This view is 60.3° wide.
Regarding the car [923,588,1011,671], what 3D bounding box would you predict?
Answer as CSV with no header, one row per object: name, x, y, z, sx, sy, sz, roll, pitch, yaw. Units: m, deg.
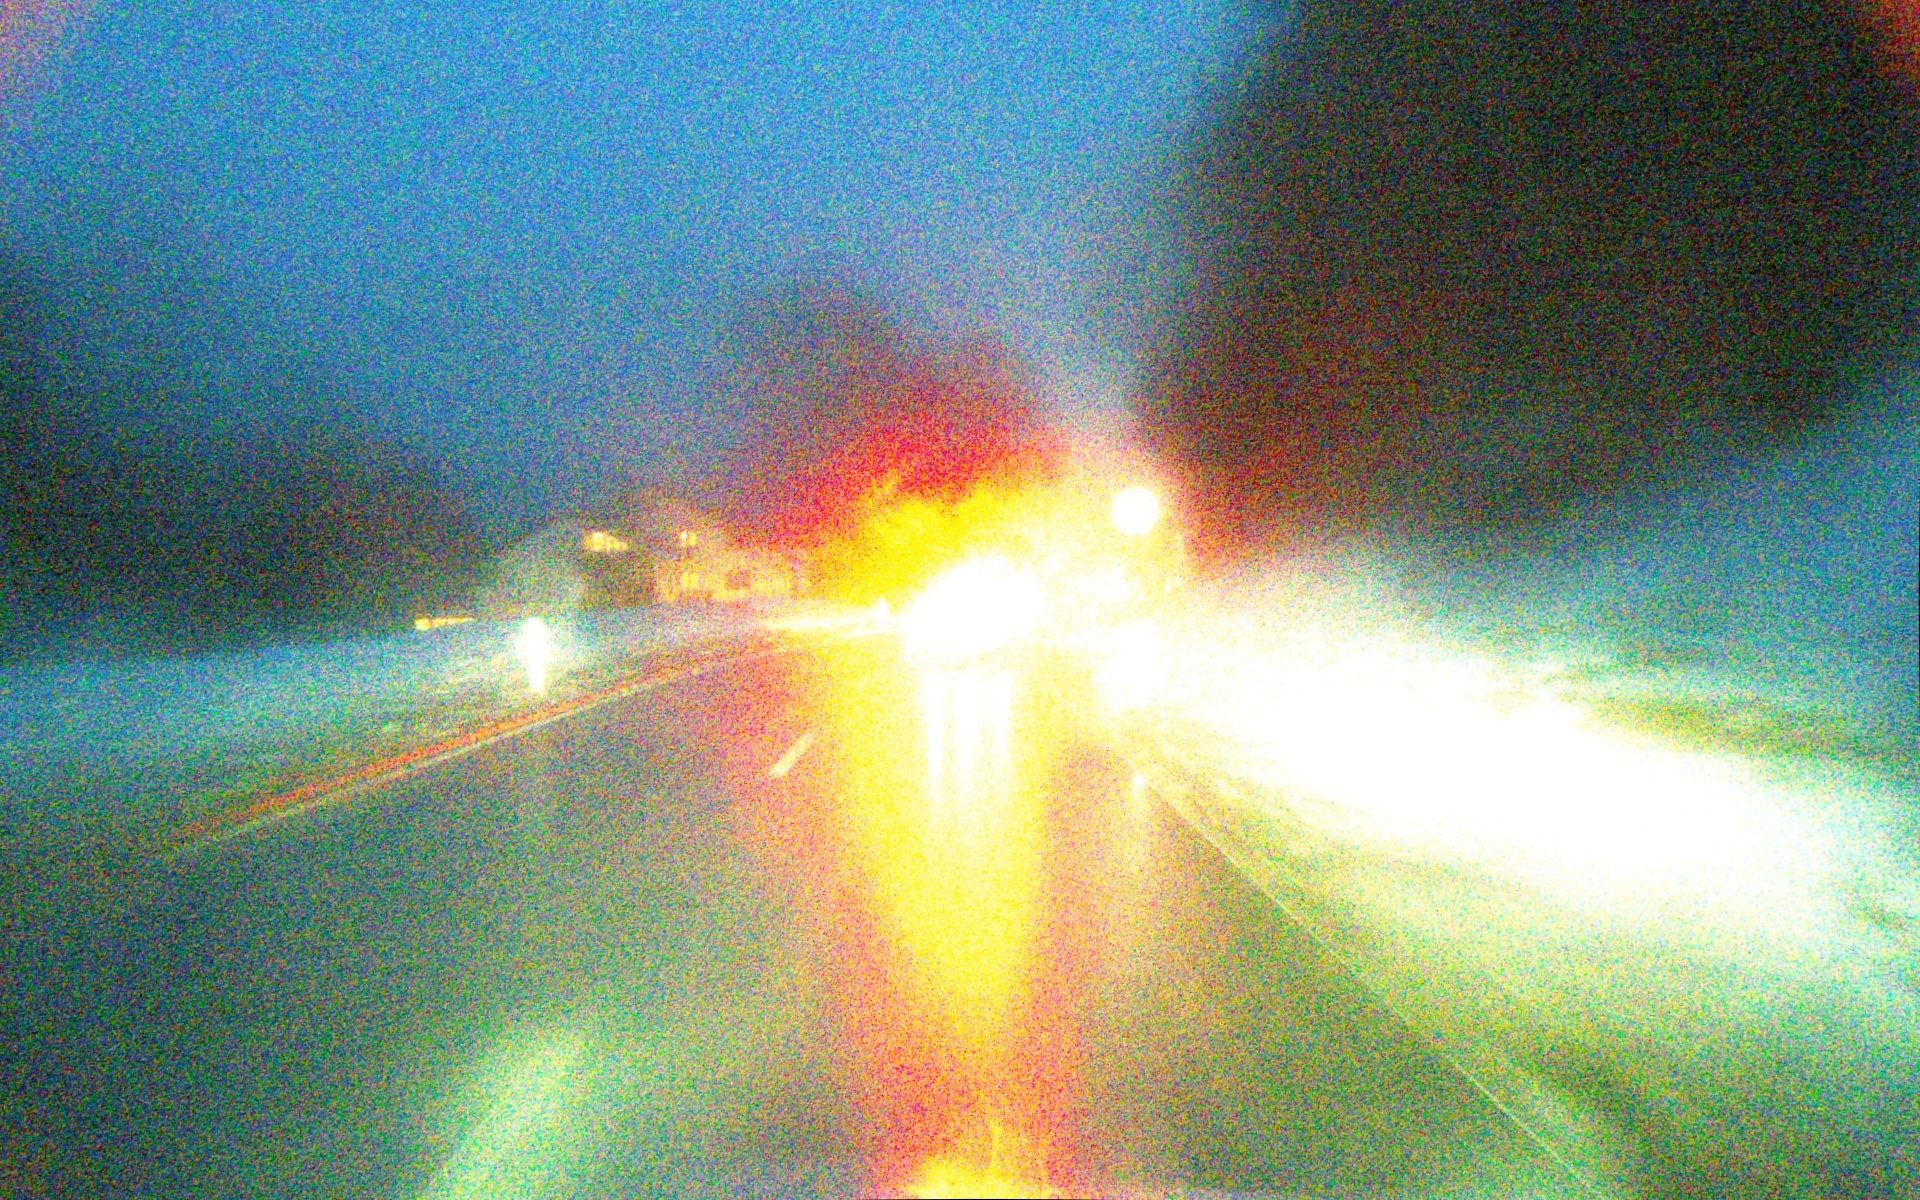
car,0.162,0.594,35.378,1.764,1.657,3.615,-1,0,0
